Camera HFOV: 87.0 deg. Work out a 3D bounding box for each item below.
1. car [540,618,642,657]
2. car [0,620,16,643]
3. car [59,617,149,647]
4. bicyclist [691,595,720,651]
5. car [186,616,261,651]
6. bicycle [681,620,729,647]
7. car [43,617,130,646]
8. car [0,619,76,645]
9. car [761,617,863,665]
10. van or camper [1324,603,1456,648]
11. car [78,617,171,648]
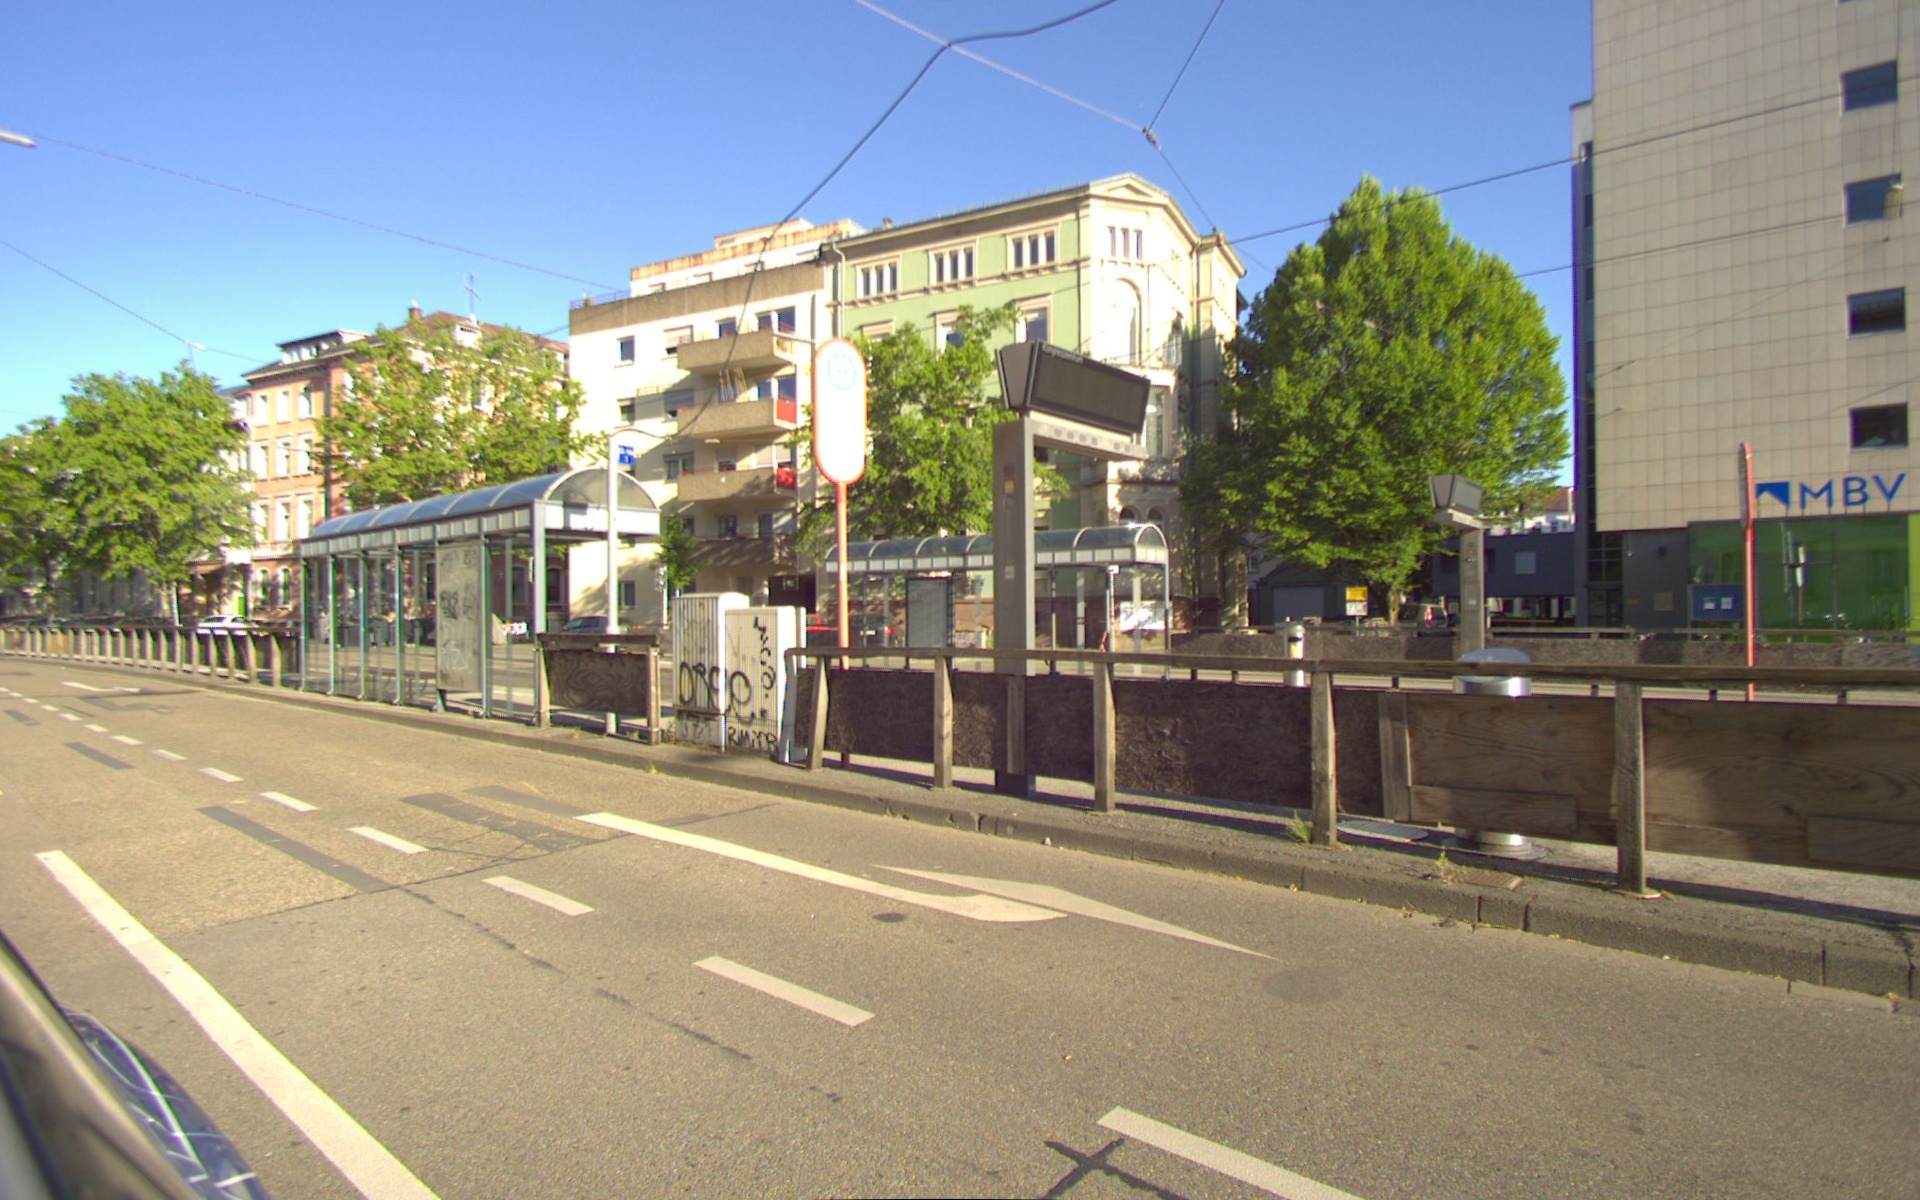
[{"bbox_3d":[-14.007,1.418,38.413,3.498,1.406,1.602,-1,-2,22],"label":"car"},{"bbox_3d":[-68.102,2.199,70.137,2.001,1.604,3.812,-2,-2,44],"label":"car"},{"bbox_3d":[-51.296,1.894,60.651,2.001,1.697,3.942,-2,-2,44],"label":"car"},{"bbox_3d":[-8.369,0.749,33.256,0.770,1.774,0.529,2,1,41],"label":"bicyclist"},{"bbox_3d":[-39.524,1.758,54.395,1.966,1.736,4.012,0,1,-15],"label":"car"},{"bbox_3d":[-8.393,1.097,33.272,1.852,0.793,0.529,2,1,41],"label":"bicycle"},{"bbox_3d":[-54.304,1.940,62.980,2.001,1.697,3.942,-2,-2,44],"label":"car"},{"bbox_3d":[-59.613,2.066,65.292,3.811,1.604,2.001,1,-2,-45],"label":"car"},{"bbox_3d":[-5.006,1.369,34.707,1.763,1.547,3.763,-1,-2,23],"label":"car"},{"bbox_3d":[15.501,0.888,36.562,3.998,1.417,1.943,2,0,41],"label":"van or camper"},{"bbox_3d":[-47.979,1.830,58.178,2.001,1.697,3.942,-2,-2,44],"label":"car"}]
